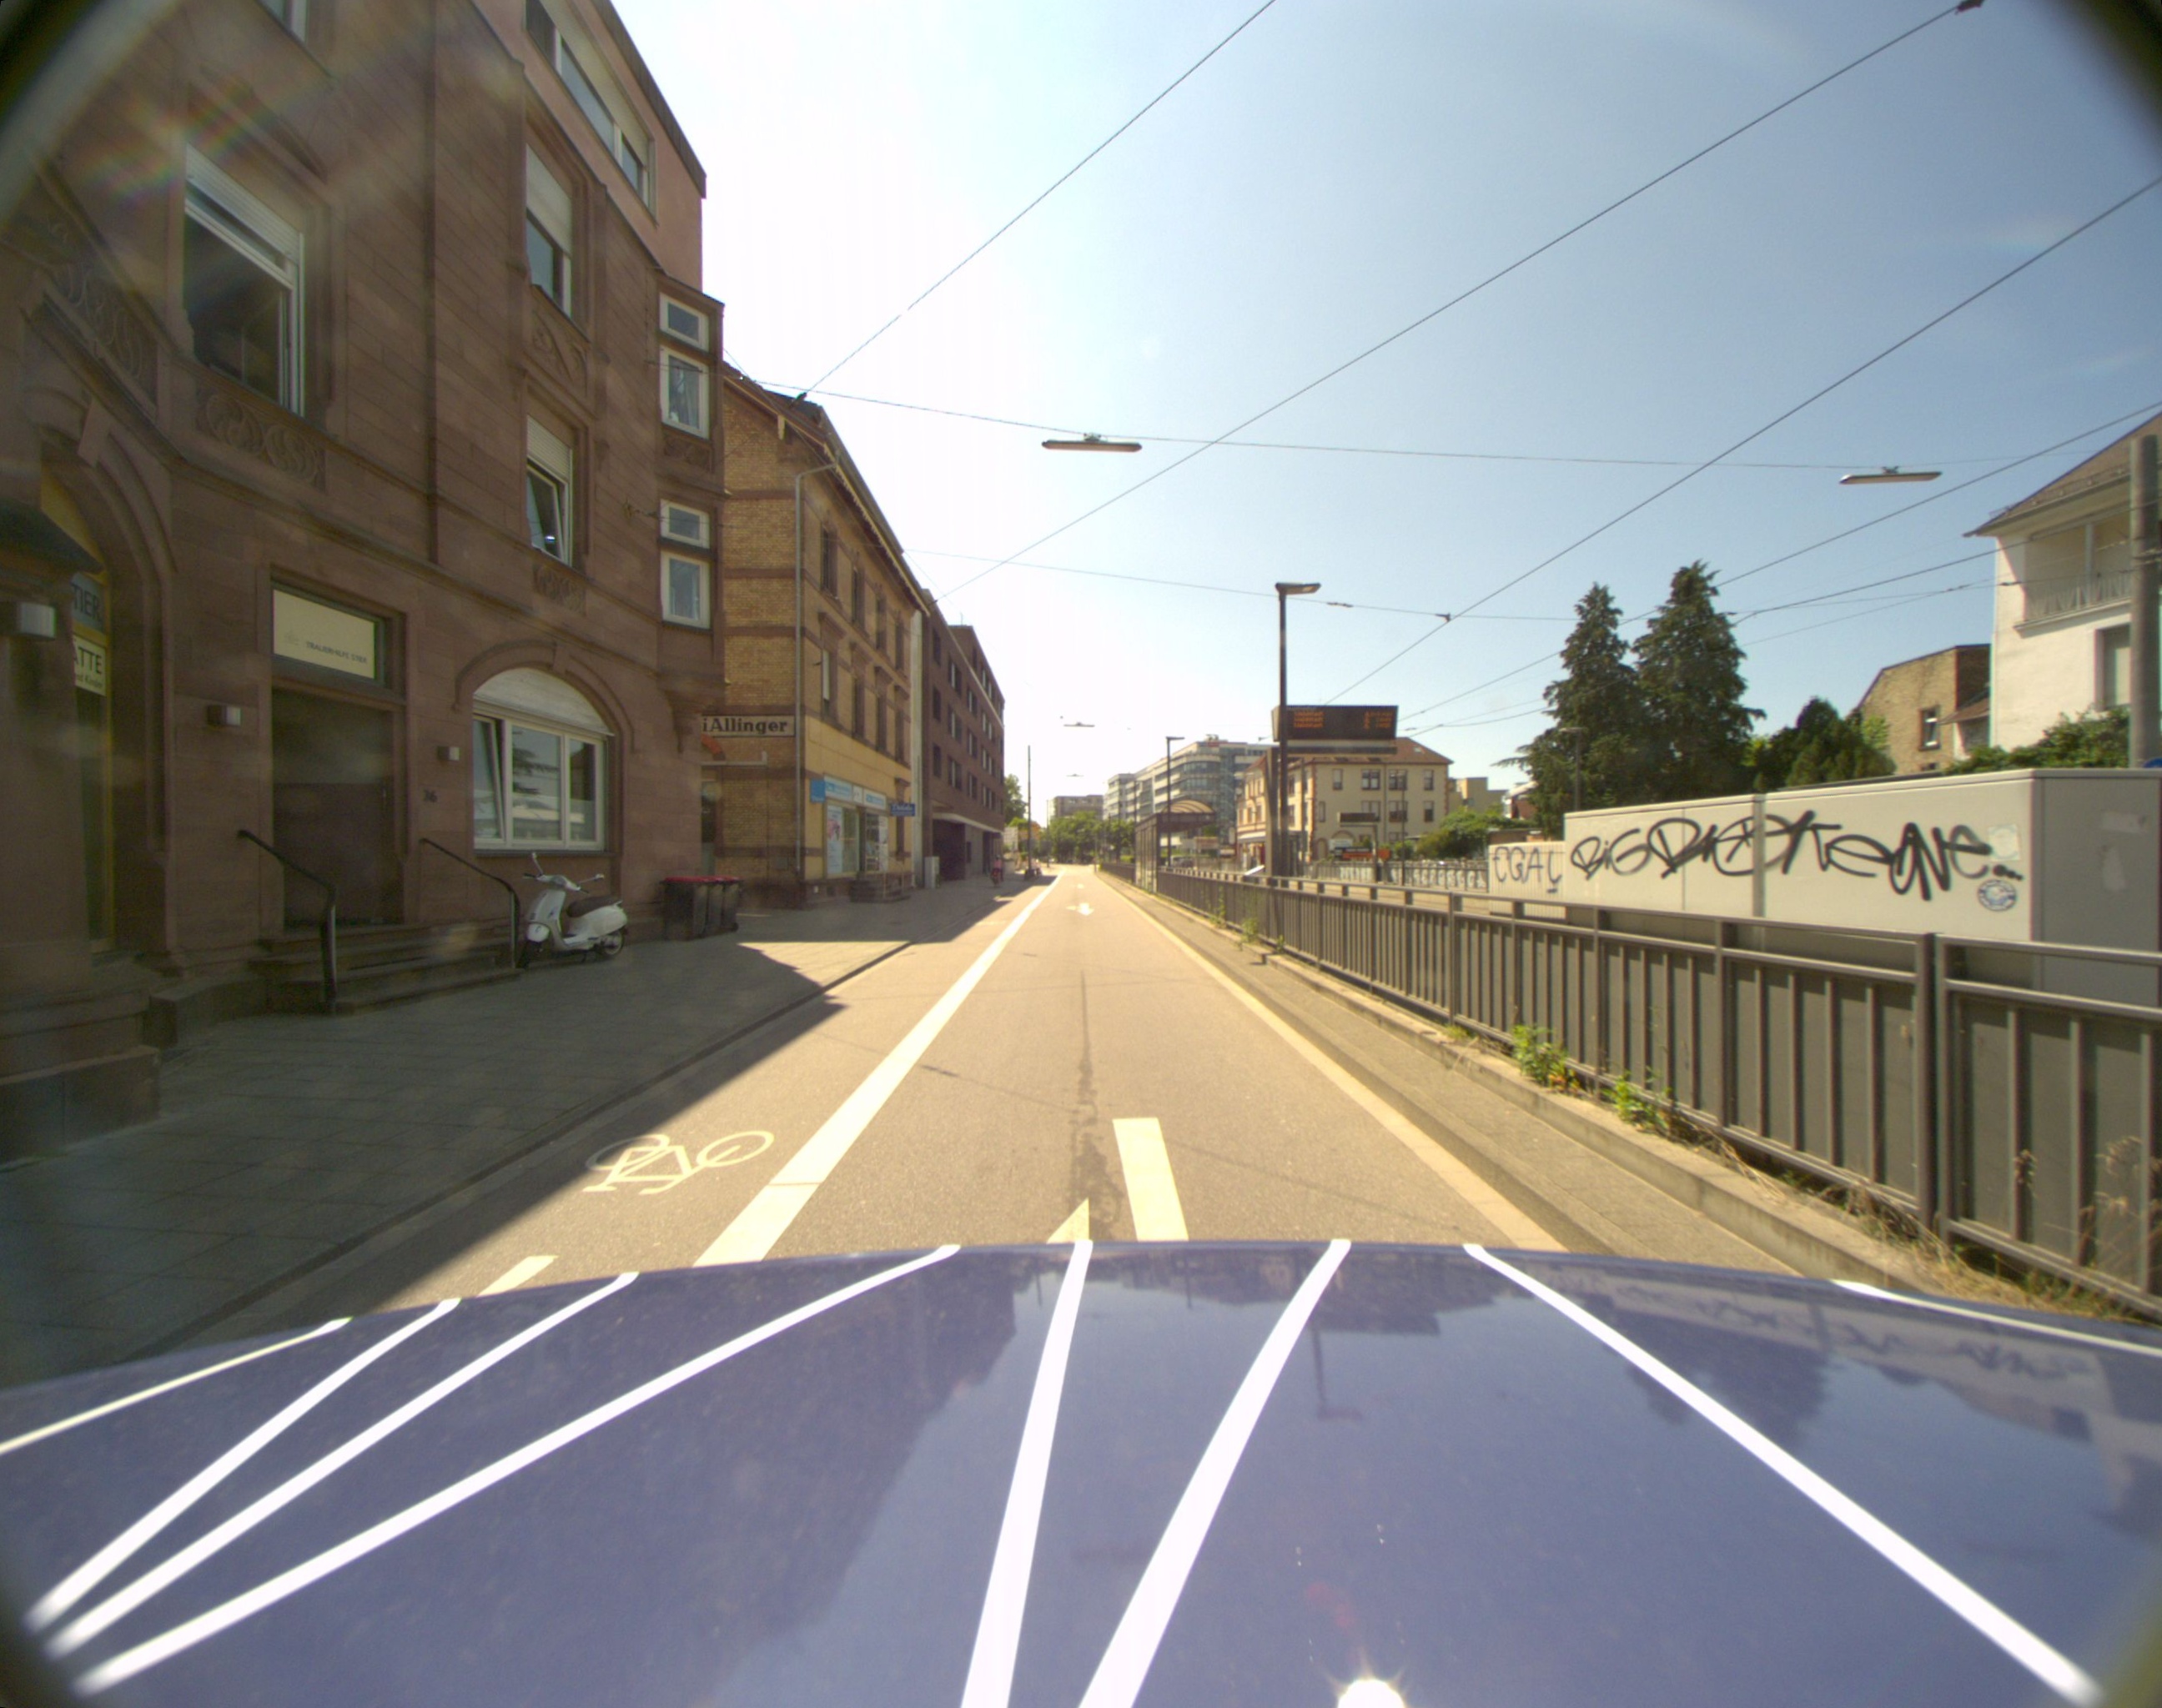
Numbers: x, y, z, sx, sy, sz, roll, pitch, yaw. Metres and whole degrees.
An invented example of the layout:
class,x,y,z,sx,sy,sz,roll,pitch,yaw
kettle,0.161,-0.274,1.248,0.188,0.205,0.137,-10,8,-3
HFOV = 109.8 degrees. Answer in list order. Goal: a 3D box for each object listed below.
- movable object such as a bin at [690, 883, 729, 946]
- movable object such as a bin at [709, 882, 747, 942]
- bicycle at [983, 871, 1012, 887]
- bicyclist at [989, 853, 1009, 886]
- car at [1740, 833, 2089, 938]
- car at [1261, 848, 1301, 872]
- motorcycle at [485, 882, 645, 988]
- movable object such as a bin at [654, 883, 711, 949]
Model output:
class,x,y,z,sx,sy,sz,roll,pitch,yaw
movable object such as a bin,-6.521,1.048,13.343,0.376,1.042,0.559,2,1,0
movable object such as a bin,-6.470,1.049,13.948,0.376,1.042,0.657,2,0,0
bicycle,-4.371,1.298,39.937,0.688,0.793,1.911,0,0,22
bicyclist,-4.331,0.825,40.061,0.670,1.712,0.930,0,1,22
car,16.402,0.537,15.442,1.860,1.806,4.697,1,0,-1
car,16.018,0.469,61.034,1.999,1.827,3.999,-1,0,-1
motorcycle,-6.437,0.963,9.623,0.527,1.142,1.881,0,0,8
movable object such as a bin,-6.682,1.031,12.761,0.649,1.042,0.559,2,1,-1
